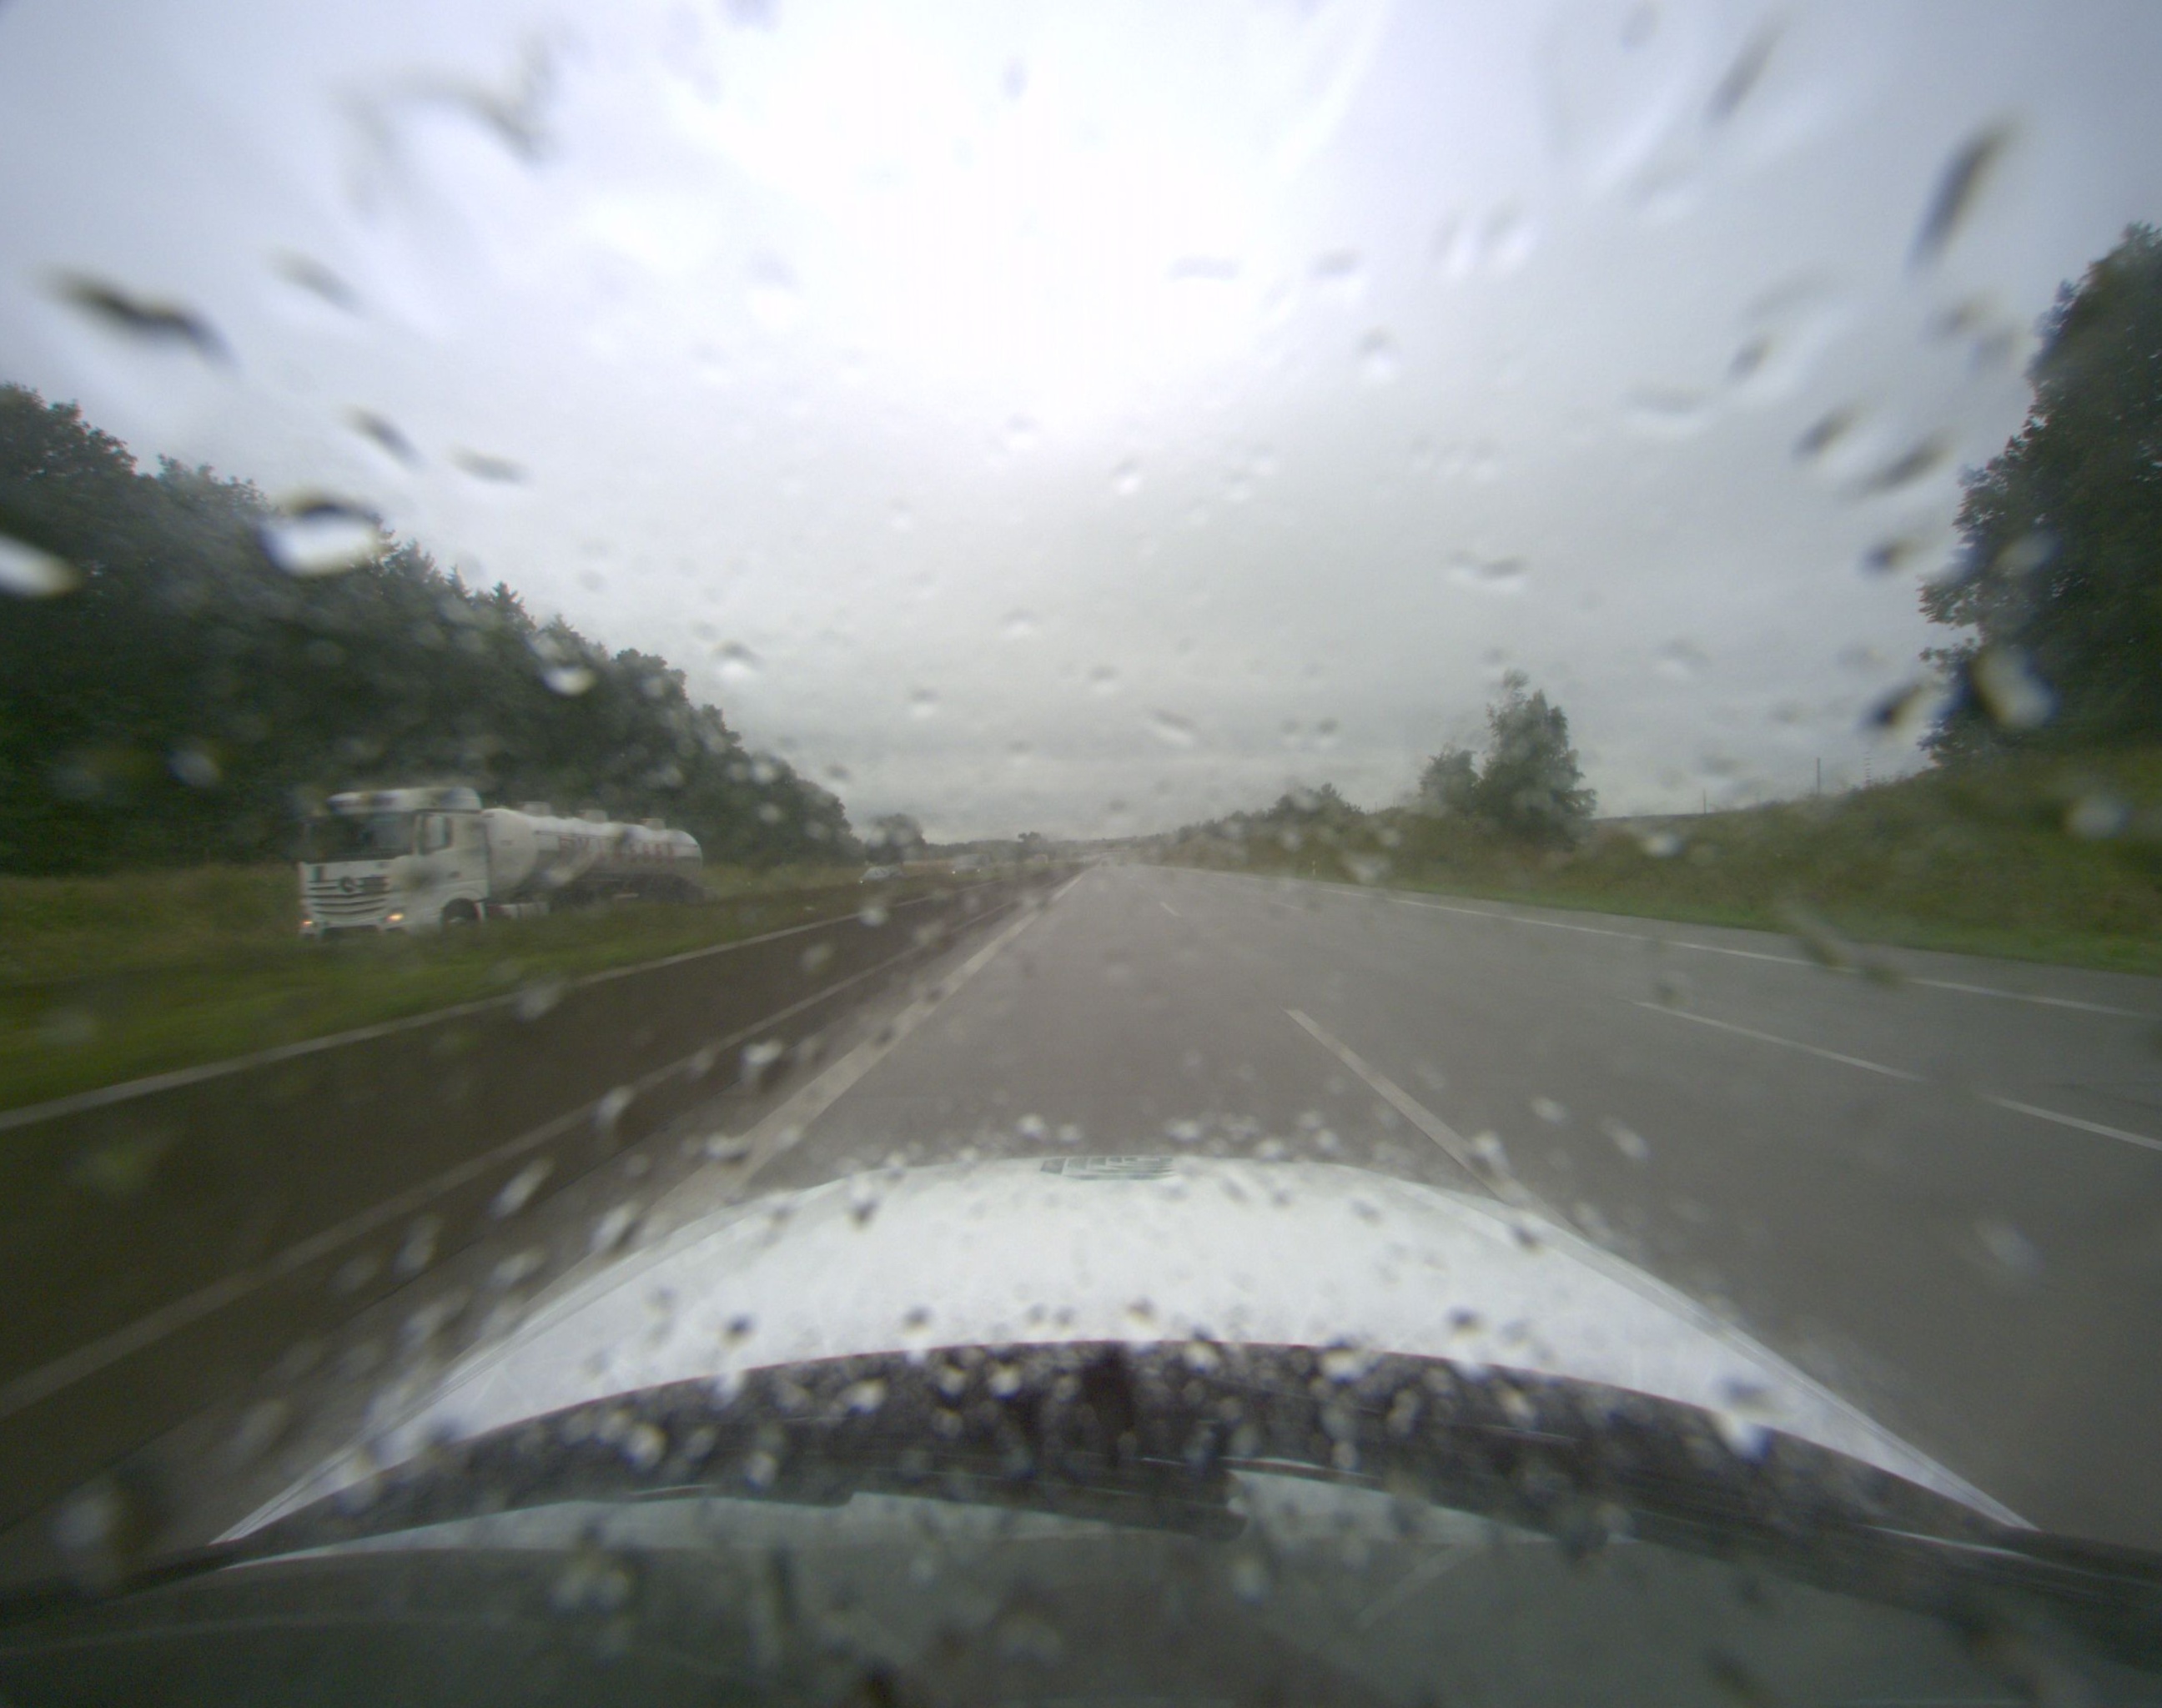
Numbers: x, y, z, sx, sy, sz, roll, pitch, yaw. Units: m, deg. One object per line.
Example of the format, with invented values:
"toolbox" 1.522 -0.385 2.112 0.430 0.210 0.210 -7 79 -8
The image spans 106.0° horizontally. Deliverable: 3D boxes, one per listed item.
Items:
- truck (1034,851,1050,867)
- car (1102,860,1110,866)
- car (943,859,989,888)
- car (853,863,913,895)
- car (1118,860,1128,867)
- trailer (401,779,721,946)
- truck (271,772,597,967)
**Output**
"truck" -9.999 1.290 209.125 2.892 3.856 12.454 -2 0 1
"car" 5.527 2.010 182.133 1.722 1.331 4.432 -1 1 2
"car" -6.895 1.145 49.221 1.986 1.543 4.561 -3 0 1
"car" -10.470 1.288 43.404 1.986 1.543 4.561 -2 0 1
"car" 8.769 2.071 170.898 1.842 1.331 4.429 -1 1 0
"trailer" -15.134 0.204 25.416 2.656 3.971 11.135 -2 0 0
"truck" -15.154 0.322 19.871 2.656 3.875 6.435 -2 0 0
